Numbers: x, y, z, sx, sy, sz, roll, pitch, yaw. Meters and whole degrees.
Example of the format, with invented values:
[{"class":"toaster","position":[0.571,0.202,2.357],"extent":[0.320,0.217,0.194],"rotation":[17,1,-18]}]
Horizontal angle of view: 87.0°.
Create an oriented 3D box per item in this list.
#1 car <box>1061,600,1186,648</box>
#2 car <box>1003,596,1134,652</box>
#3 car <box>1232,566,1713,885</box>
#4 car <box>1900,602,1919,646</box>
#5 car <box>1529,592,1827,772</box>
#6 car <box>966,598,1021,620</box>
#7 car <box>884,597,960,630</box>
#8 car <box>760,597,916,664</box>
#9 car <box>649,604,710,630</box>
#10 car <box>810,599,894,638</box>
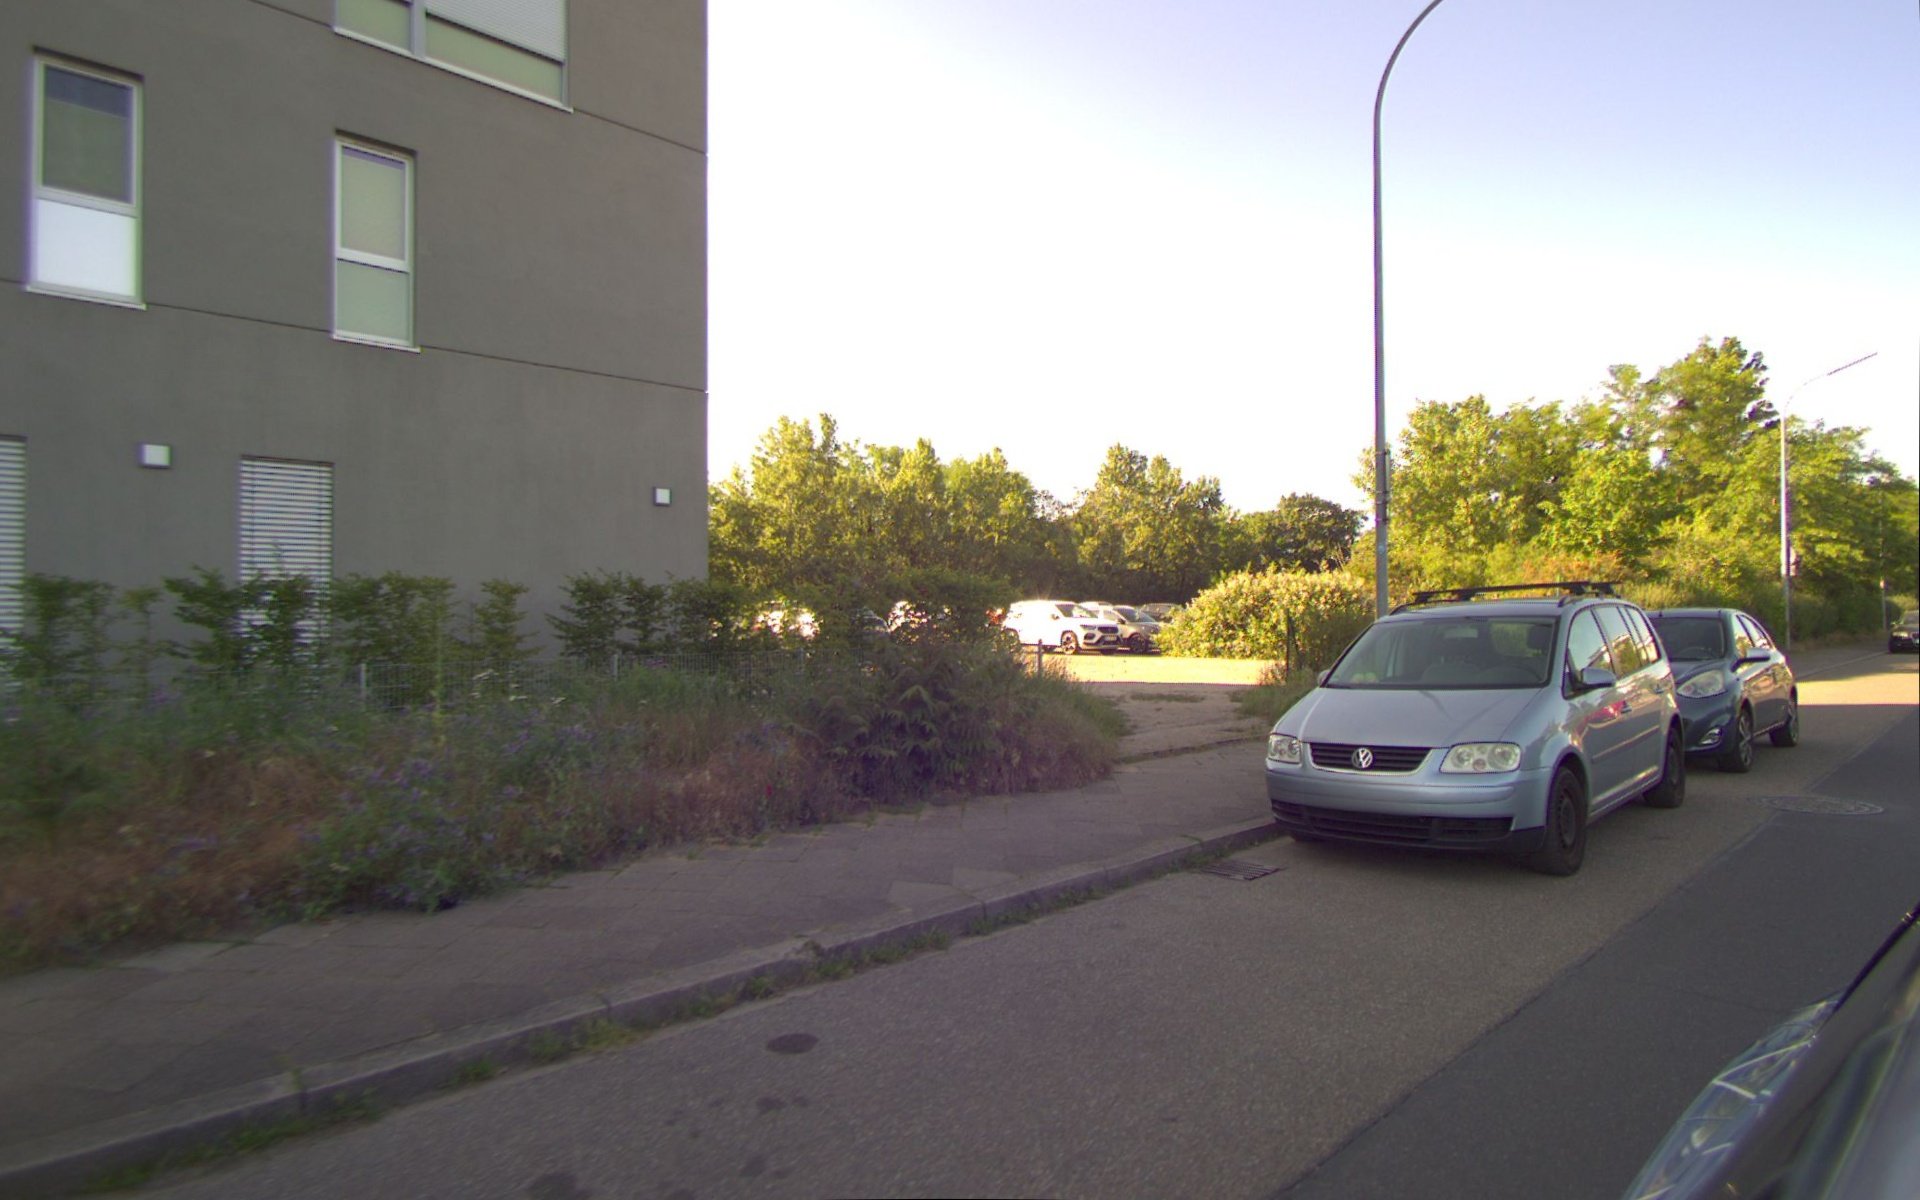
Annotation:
[{"class":"car","position":[5.202,0.738,32.578],"extent":[1.658,1.457,3.885],"rotation":[0,0,-39]},{"class":"car","position":[3.242,0.682,30.867],"extent":[1.724,1.608,3.914],"rotation":[0,0,-39]},{"class":"car","position":[3.832,0.677,7.218],"extent":[4.108,1.629,1.677],"rotation":[0,-3,-43]},{"class":"car","position":[33.506,0.763,34.515],"extent":[4.578,1.432,1.754],"rotation":[0,-3,-44]},{"class":"car","position":[7.592,0.739,10.578],"extent":[3.833,1.546,1.624],"rotation":[0,-3,-41]},{"class":"car","position":[2.347,0.609,71.491],"extent":[1.806,1.439,3.886],"rotation":[0,1,-39]},{"class":"car","position":[-1.860,0.625,48.867],"extent":[1.658,1.484,3.886],"rotation":[0,1,-39]},{"class":"car","position":[-3.165,0.732,25.702],"extent":[1.855,1.546,4.119],"rotation":[0,-1,-44]},{"class":"car","position":[-14.747,0.872,53.131],"extent":[1.658,1.262,3.886],"rotation":[0,1,-39]},{"class":"car","position":[-4.342,0.705,40.356],"extent":[1.599,1.479,3.675],"rotation":[0,0,-39]}]
